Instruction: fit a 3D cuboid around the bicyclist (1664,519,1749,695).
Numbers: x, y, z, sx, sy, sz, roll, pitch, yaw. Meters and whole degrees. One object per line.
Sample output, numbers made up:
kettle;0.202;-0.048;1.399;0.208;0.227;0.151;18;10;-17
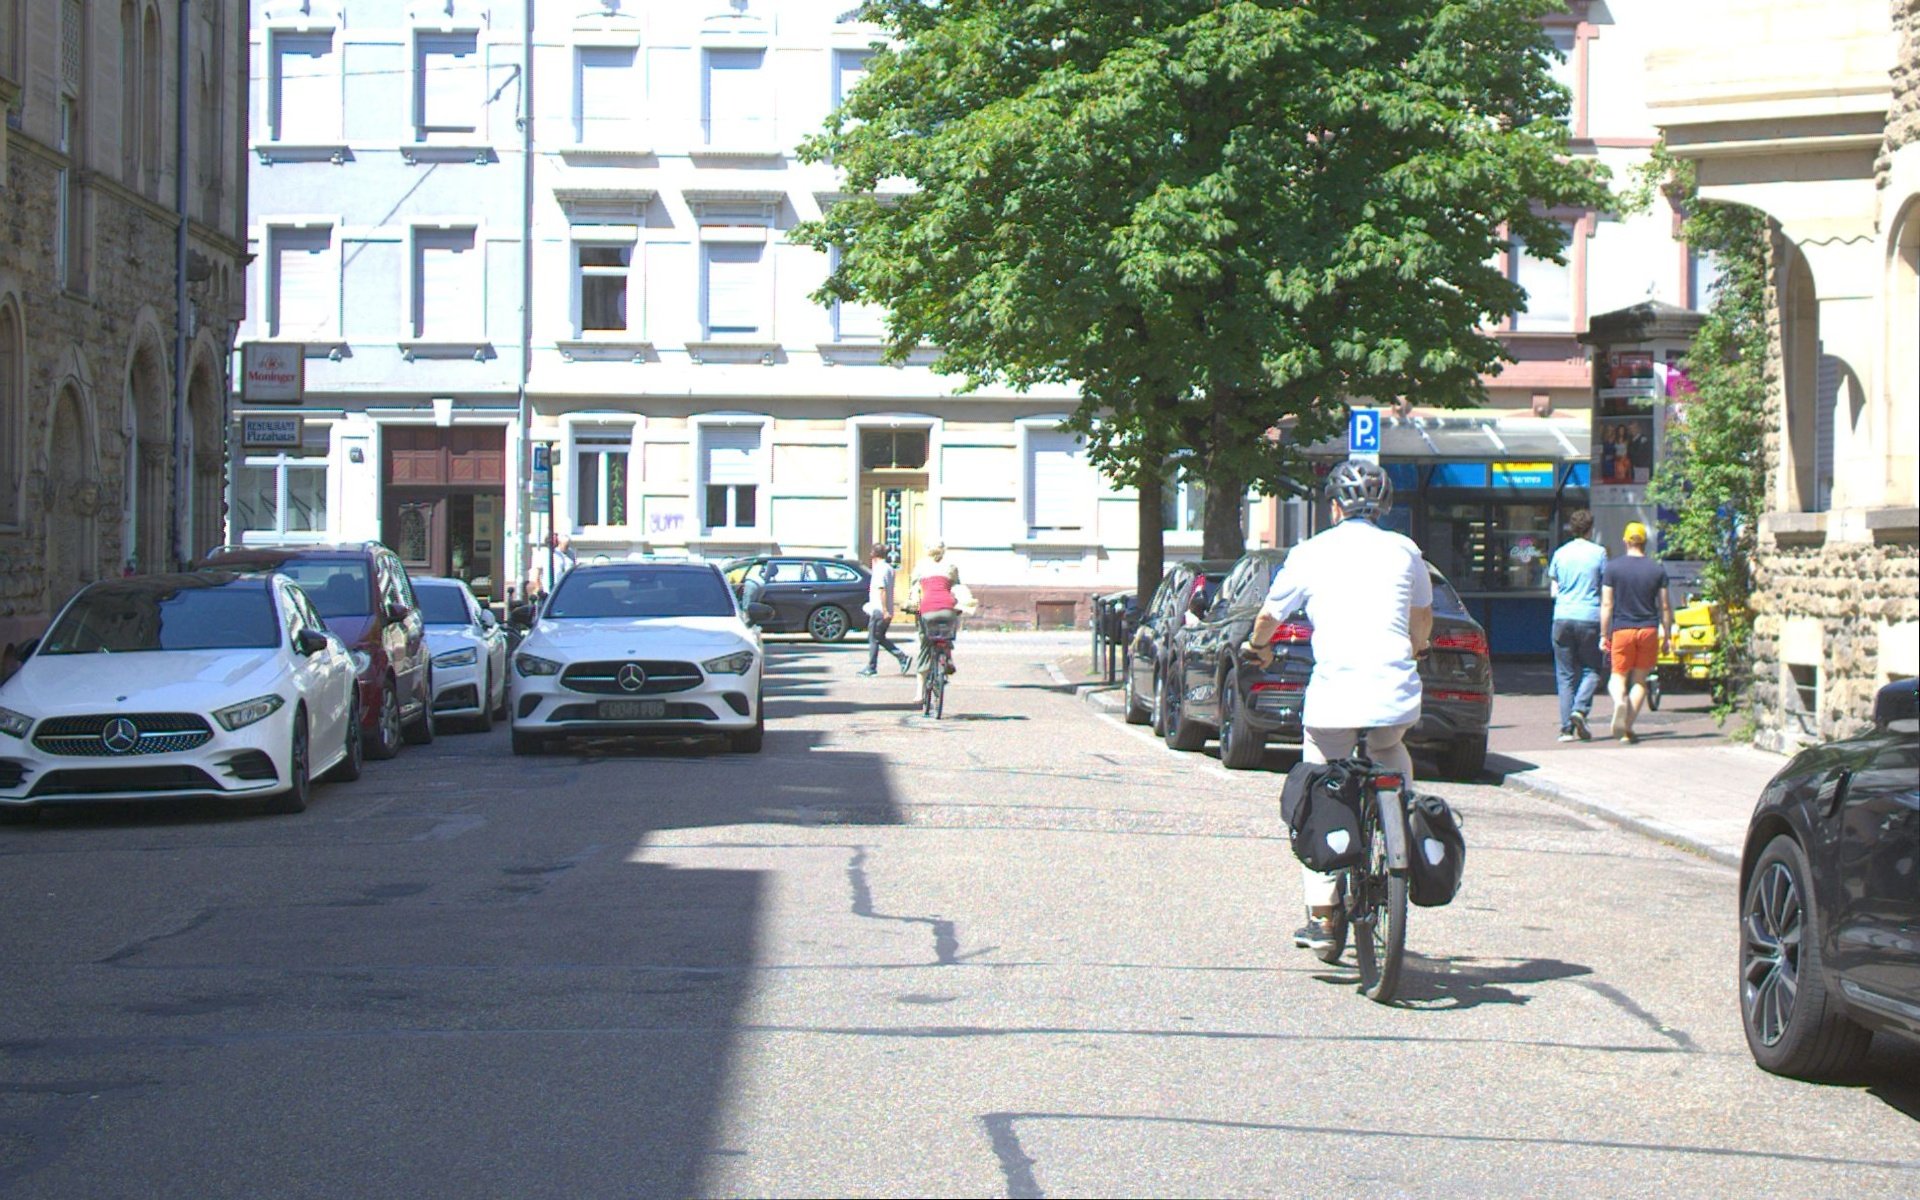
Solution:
bicyclist;7.059;0.064;32.495;0.678;1.642;0.661;0;0;22

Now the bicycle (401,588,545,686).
bicycle;-5.382;0.411;38.035;1.524;1.004;0.367;3;0;-6

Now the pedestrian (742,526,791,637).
pedestrian;-3.256;-0.308;57.855;0.724;1.847;0.685;0;0;-11

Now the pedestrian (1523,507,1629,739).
pedestrian;5.016;0.187;27.992;0.651;1.862;0.520;1;0;-20

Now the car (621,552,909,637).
car;-3.330;-0.105;59.154;4.859;1.432;2.000;0;0;-2

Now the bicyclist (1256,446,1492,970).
bicyclist;1.436;0.365;12.004;0.670;1.754;0.609;2;0;-1

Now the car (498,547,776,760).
car;-2.396;0.356;26.452;1.841;1.456;4.363;-1;1;-2

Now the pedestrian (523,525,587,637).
pedestrian;-6.869;-0.330;58.357;0.850;1.882;0.935;0;0;9

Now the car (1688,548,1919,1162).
car;3.392;0.691;8.727;1.833;1.561;4.606;3;1;-3

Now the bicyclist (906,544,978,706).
bicyclist;-0.175;0.231;32.711;0.670;1.528;0.609;0;0;-1

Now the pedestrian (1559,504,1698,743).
pedestrian;5.333;0.187;27.432;0.880;1.873;0.601;1;0;-21

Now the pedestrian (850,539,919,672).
pedestrian;-0.957;0.064;43.585;0.857;1.666;0.774;0;0;-1

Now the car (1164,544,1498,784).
car;2.707;0.420;26.050;1.735;1.591;4.348;3;1;-3

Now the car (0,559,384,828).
car;-4.756;0.505;21.257;1.776;1.455;4.279;-1;1;-2

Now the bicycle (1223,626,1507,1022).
bicycle;1.409;0.737;12.391;0.652;1.224;2.441;2;0;-1

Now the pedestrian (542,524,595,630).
pedestrian;-6.776;-0.402;59.462;0.901;1.808;0.960;0;0;-7

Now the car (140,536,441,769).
car;-4.975;0.347;26.009;1.672;1.577;4.053;-2;1;-3

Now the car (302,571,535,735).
car;-4.875;0.432;31.440;1.701;1.348;4.516;-2;1;-4

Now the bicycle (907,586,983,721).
bicycle;-0.154;0.484;32.785;0.652;1.205;2.441;2;0;-1

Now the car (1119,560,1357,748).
car;2.481;0.441;31.547;1.663;1.535;4.178;3;1;-2

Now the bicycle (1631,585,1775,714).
bicycle;7.048;0.443;32.496;0.795;1.165;2.575;0;1;25
